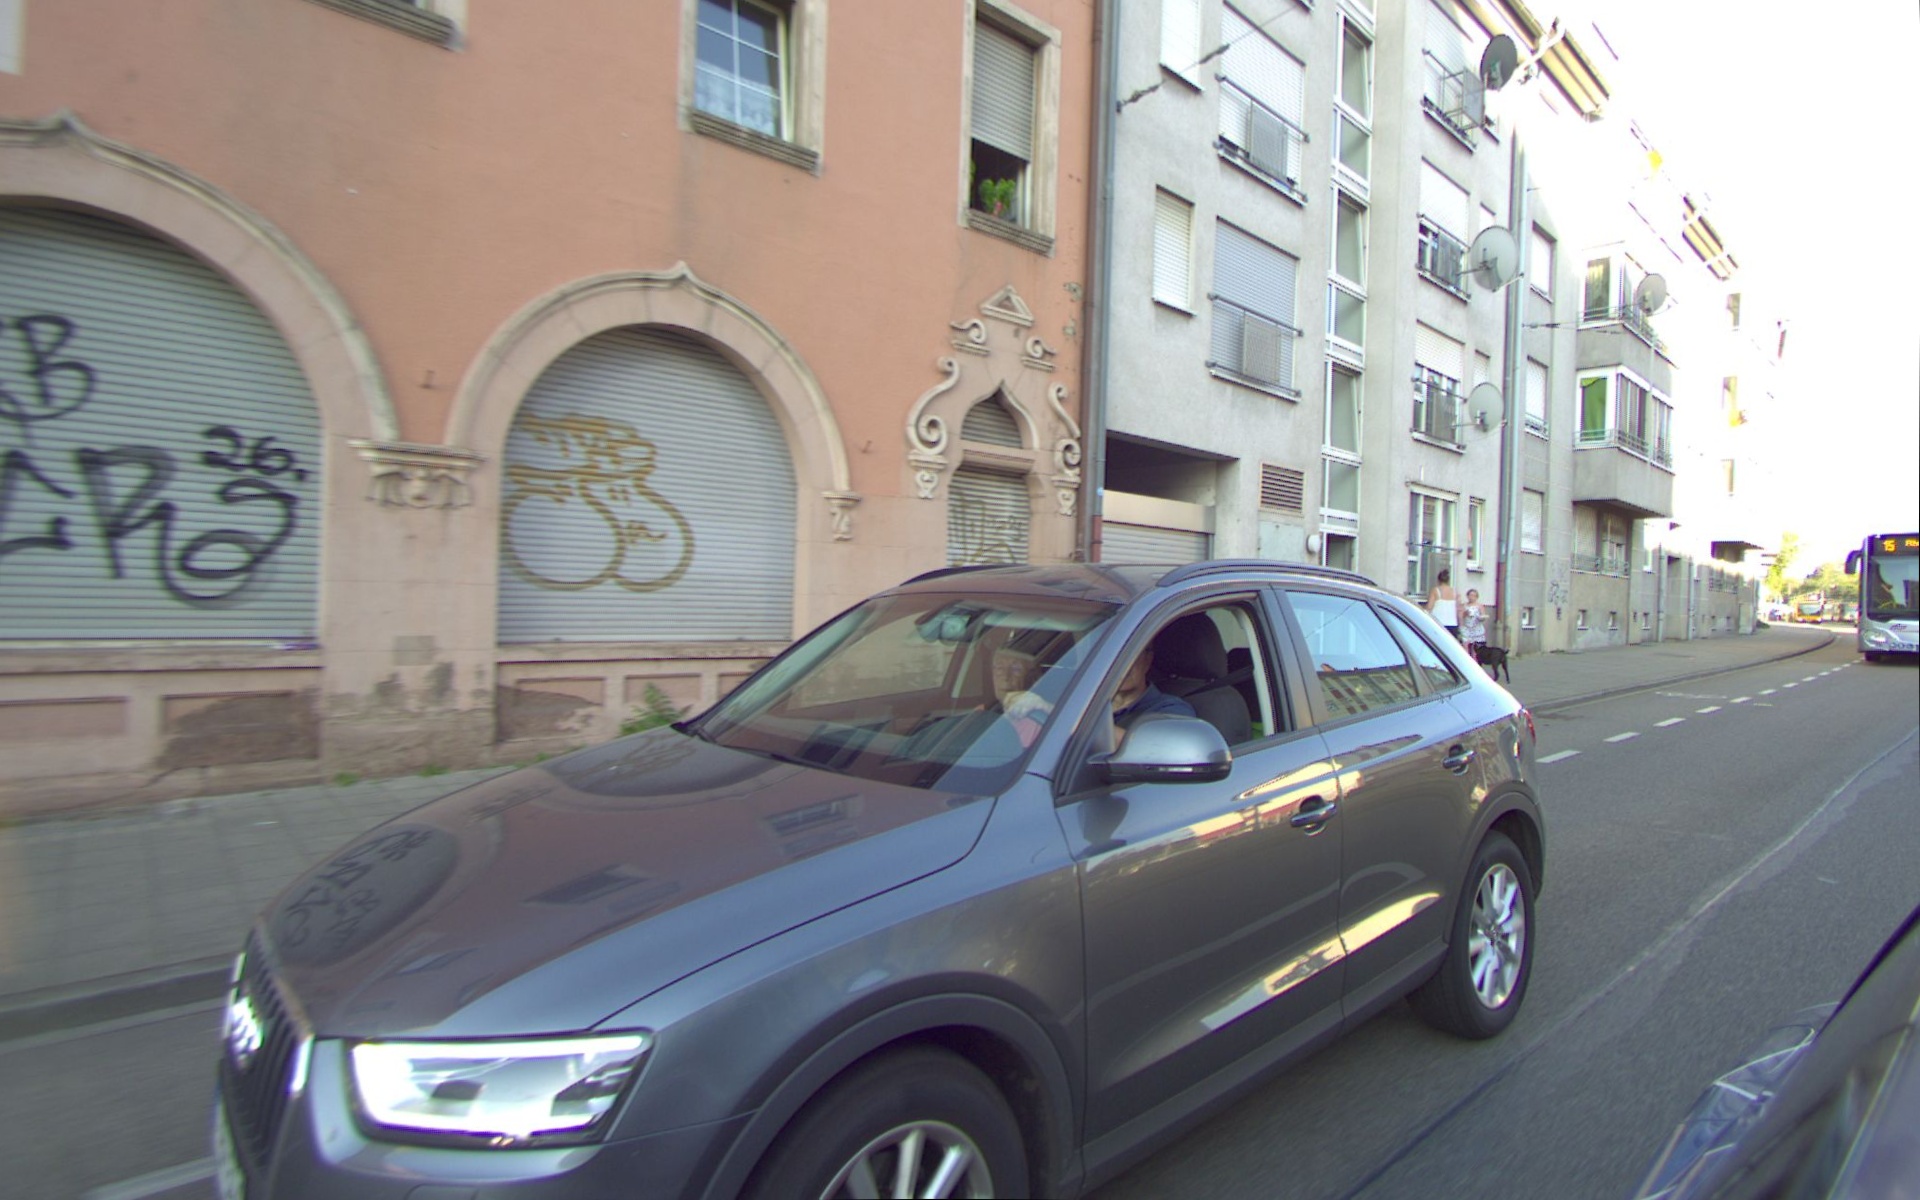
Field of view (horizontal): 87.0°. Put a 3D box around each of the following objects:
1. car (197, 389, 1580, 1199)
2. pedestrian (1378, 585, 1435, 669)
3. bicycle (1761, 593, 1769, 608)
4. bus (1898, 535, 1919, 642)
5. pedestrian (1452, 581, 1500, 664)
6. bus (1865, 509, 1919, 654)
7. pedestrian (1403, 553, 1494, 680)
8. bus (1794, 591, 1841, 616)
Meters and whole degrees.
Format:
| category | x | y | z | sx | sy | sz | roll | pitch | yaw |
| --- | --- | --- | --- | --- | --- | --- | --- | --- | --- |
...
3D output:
| category | x | y | z | sx | sy | sz | roll | pitch | yaw |
| --- | --- | --- | --- | --- | --- | --- | --- | --- | --- |
| car | 0.246 | 0.584 | 3.118 | 3.997 | 1.607 | 1.769 | 1 | 0 | -42 |
| pedestrian | 7.017 | 0.420 | 15.920 | 0.574 | 1.266 | 0.588 | 1 | 2 | -41 |
| bicycle | 56.759 | 0.057 | 71.356 | 0.359 | 1.044 | 1.707 | 6 | 3 | 37 |
| bus | 32.237 | -0.295 | 32.388 | 10.424 | 3.116 | 2.707 | 1 | 0 | -44 |
| pedestrian | 8.798 | 0.371 | 17.246 | 0.514 | 1.361 | 0.599 | 4 | 3 | 45 |
| bus | 24.753 | -0.359 | 25.093 | 10.424 | 3.116 | 2.727 | 1 | 0 | -44 |
| pedestrian | 7.245 | 0.219 | 15.009 | 0.978 | 1.793 | 0.831 | 1 | 2 | -41 |
| bus | 105.503 | 0.379 | 124.640 | 3.857 | 2.888 | 13.636 | 1 | 0 | 38 |
